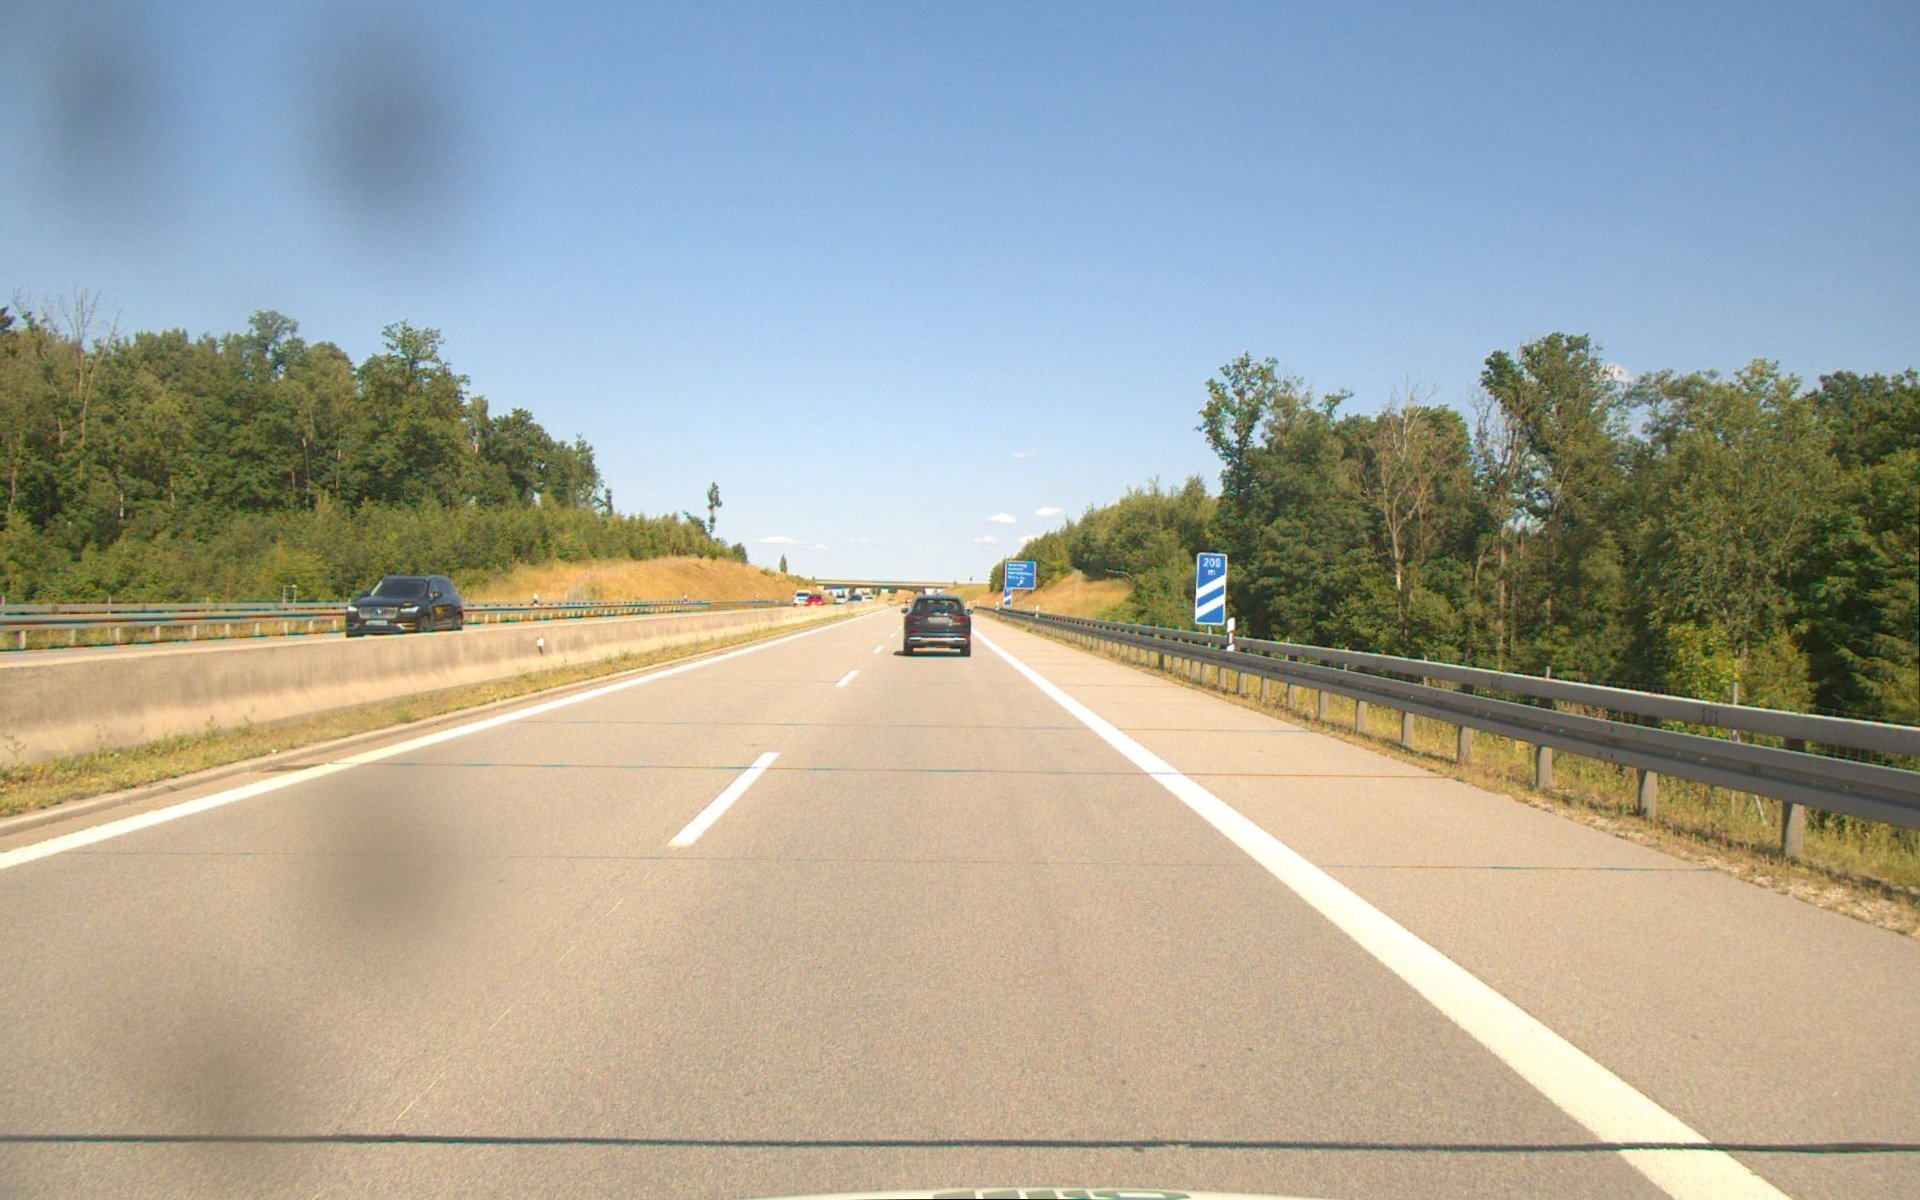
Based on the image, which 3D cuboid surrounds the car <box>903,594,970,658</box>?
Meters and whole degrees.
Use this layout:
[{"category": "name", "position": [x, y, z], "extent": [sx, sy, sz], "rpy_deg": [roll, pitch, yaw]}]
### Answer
[{"category": "car", "position": [-0.635, 0.651, 45.030], "extent": [1.687, 1.615, 5.221], "rpy_deg": [1, 0, -1]}]

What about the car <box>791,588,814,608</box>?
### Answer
[{"category": "car", "position": [-17.187, -0.203, 180.573], "extent": [1.953, 2.119, 6.226], "rpy_deg": [1, 0, -1]}]

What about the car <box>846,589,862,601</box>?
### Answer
[{"category": "car", "position": [-14.333, -0.704, 224.280], "extent": [1.953, 1.609, 4.649], "rpy_deg": [1, 0, -1]}]

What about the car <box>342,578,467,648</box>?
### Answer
[{"category": "car", "position": [-14.349, 0.312, 42.955], "extent": [1.862, 1.721, 4.268], "rpy_deg": [1, 0, -1]}]
